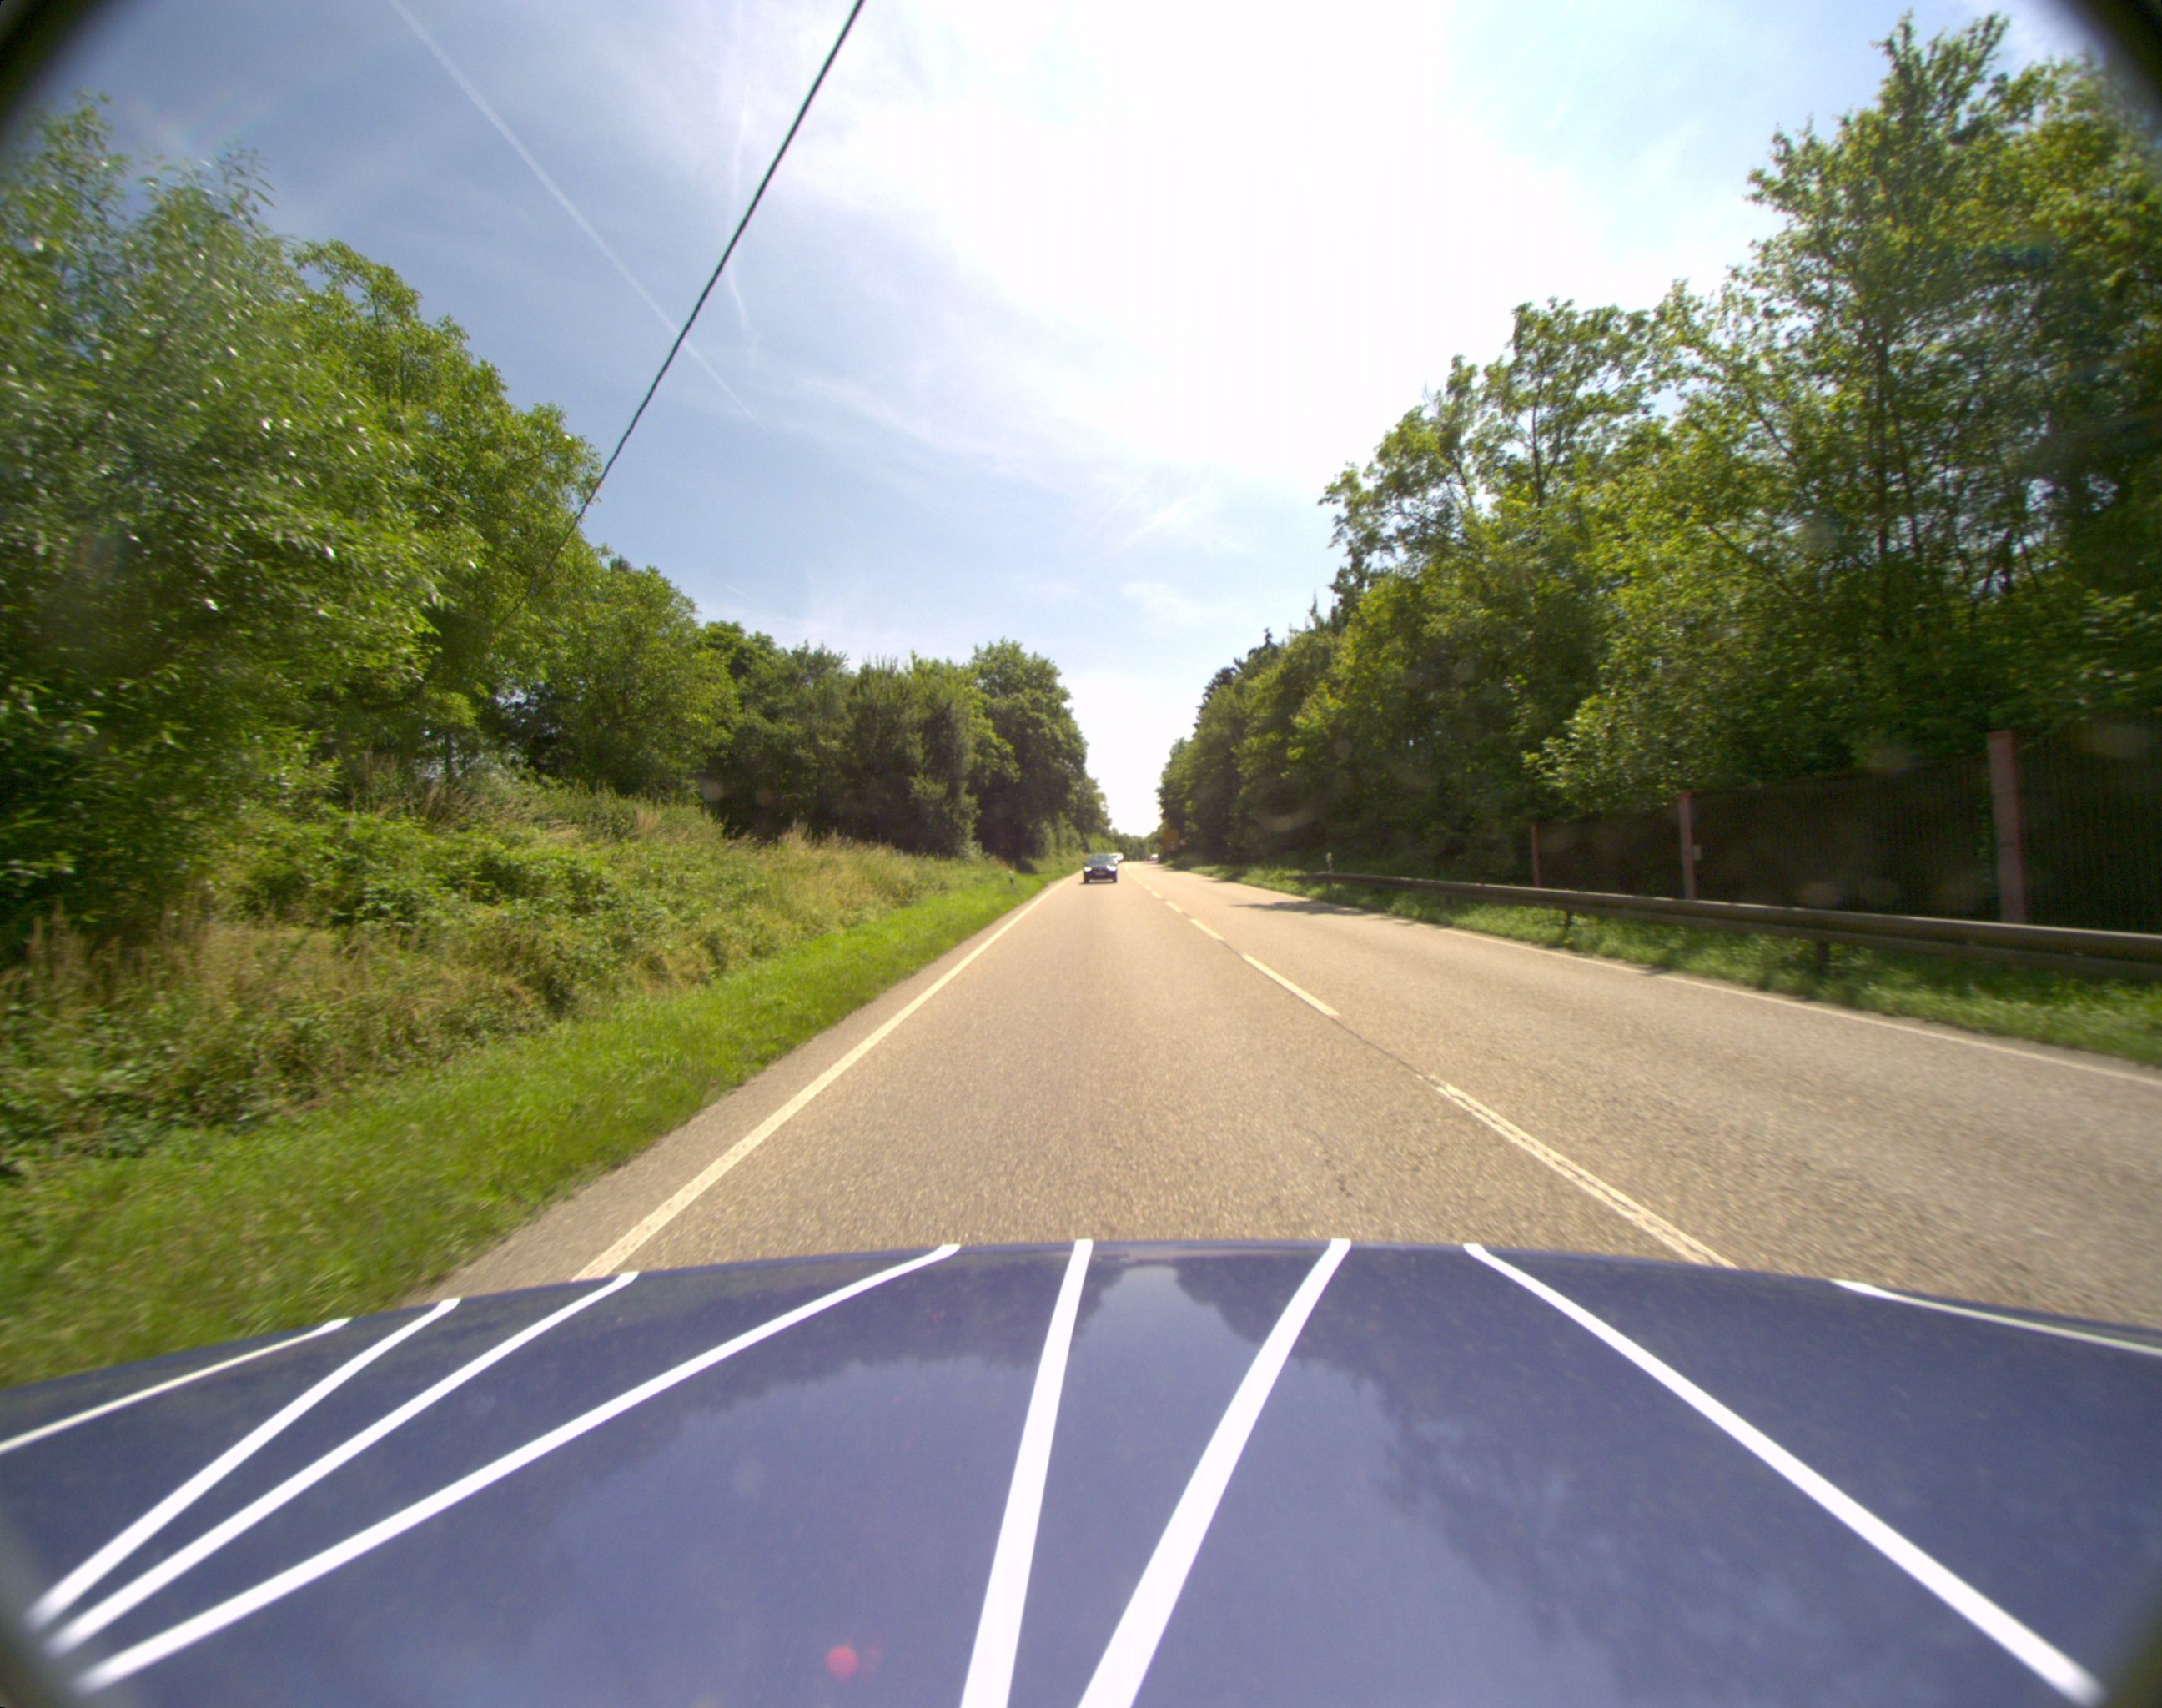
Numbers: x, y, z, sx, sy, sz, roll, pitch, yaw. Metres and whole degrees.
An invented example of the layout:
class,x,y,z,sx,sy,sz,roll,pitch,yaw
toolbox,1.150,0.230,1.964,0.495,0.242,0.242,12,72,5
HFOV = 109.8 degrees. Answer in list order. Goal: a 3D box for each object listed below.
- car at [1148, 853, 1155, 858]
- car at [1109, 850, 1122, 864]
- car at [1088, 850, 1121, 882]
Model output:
class,x,y,z,sx,sy,sz,roll,pitch,yaw
car,22.425,0.604,242.598,1.807,1.444,4.390,-2,-1,9
car,4.807,0.413,105.674,1.770,1.673,4.002,-4,-1,3
car,1.243,0.620,40.342,1.626,1.535,4.001,-2,0,2
